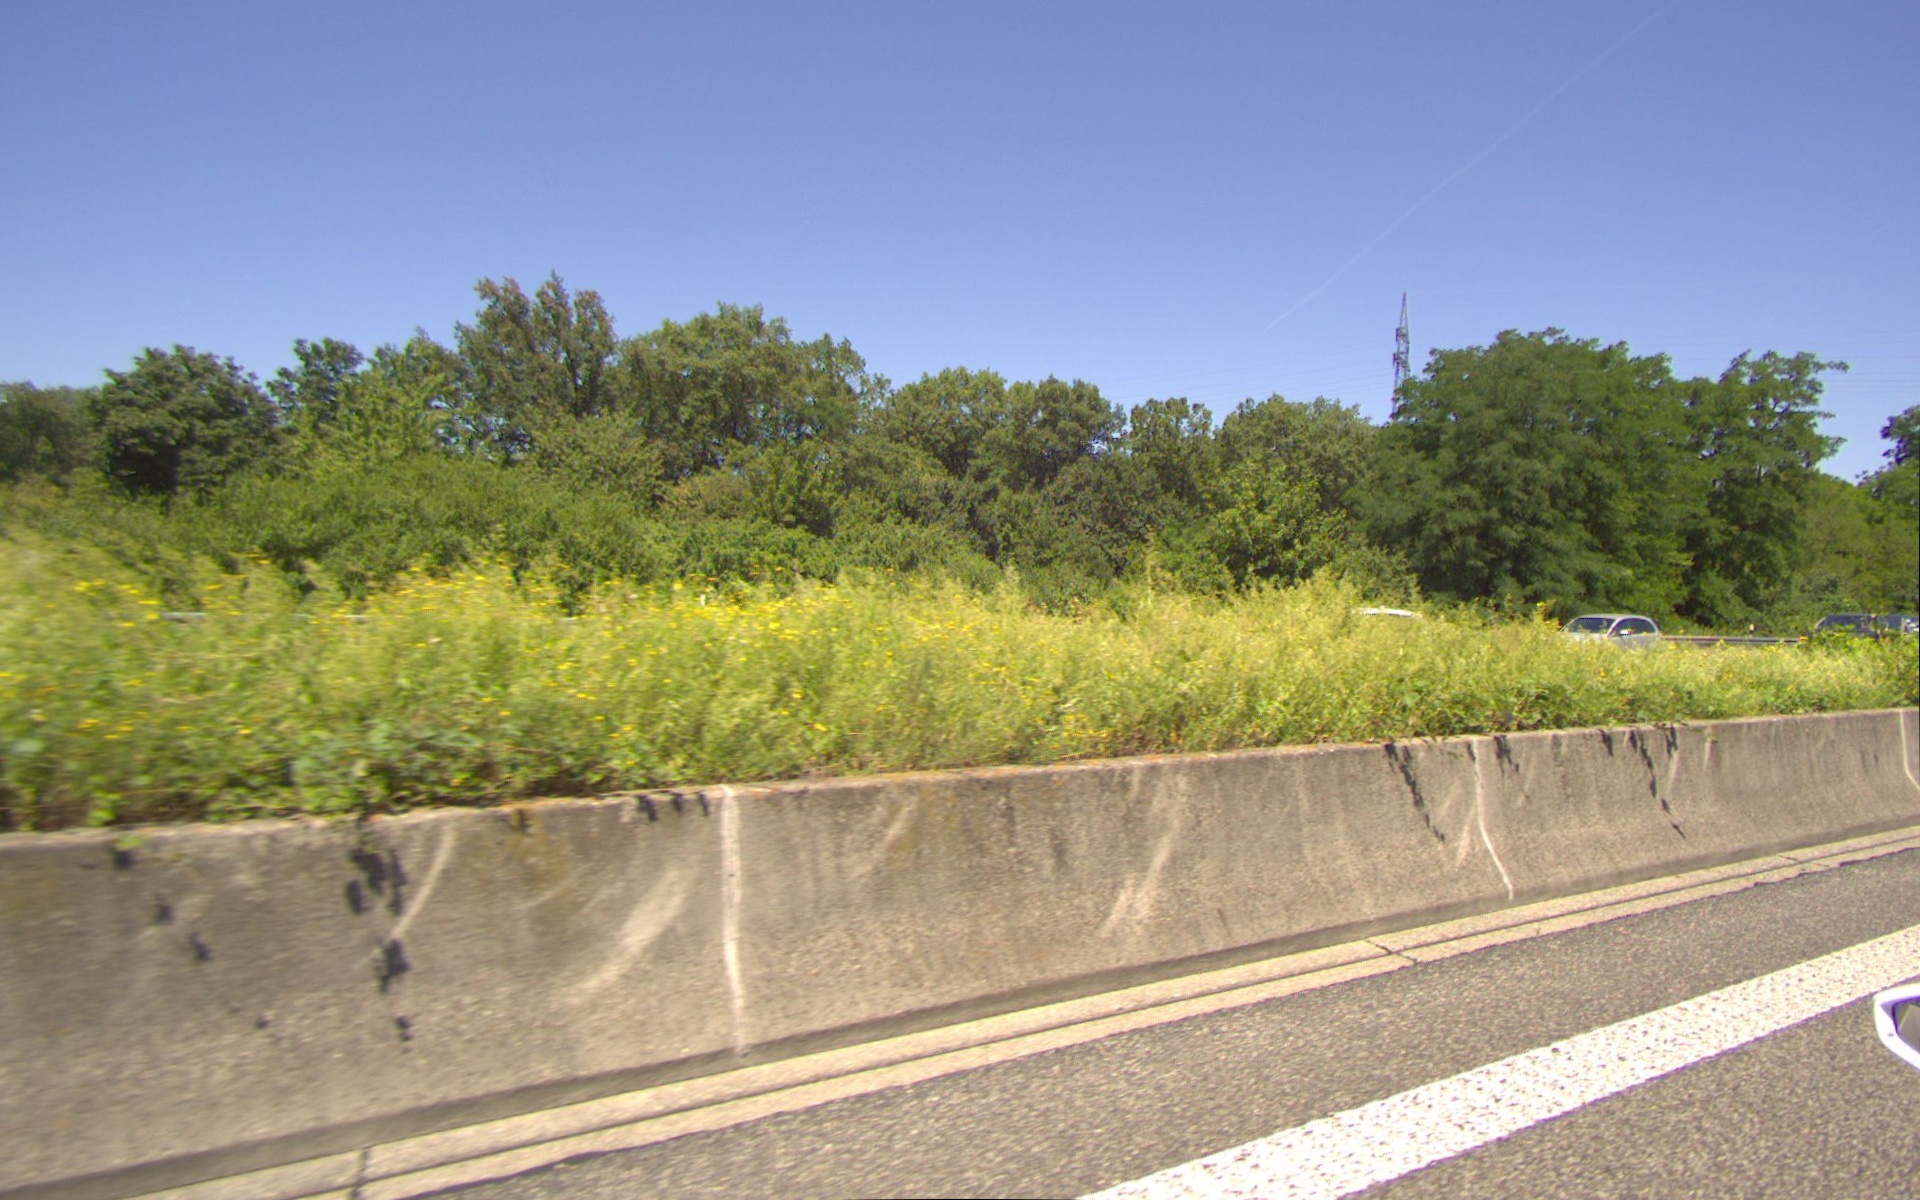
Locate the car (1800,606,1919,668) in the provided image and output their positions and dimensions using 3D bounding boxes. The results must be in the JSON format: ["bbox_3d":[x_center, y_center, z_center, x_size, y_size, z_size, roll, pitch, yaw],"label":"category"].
[{"bbox_3d":[29.306,1.206,32.500,4.830,1.868,1.689,2,0,-30],"label":"car"}]

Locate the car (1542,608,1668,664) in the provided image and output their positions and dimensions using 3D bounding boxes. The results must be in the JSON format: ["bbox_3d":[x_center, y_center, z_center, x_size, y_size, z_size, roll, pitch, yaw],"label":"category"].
[{"bbox_3d":[19.608,1.093,30.522,4.034,1.575,1.563,2,0,-30],"label":"car"}]

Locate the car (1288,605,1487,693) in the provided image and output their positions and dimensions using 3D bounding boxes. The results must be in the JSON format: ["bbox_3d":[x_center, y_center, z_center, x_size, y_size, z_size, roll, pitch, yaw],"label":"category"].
[{"bbox_3d":[8.574,0.951,20.082,3.953,1.595,1.627,2,0,-30],"label":"car"}]
